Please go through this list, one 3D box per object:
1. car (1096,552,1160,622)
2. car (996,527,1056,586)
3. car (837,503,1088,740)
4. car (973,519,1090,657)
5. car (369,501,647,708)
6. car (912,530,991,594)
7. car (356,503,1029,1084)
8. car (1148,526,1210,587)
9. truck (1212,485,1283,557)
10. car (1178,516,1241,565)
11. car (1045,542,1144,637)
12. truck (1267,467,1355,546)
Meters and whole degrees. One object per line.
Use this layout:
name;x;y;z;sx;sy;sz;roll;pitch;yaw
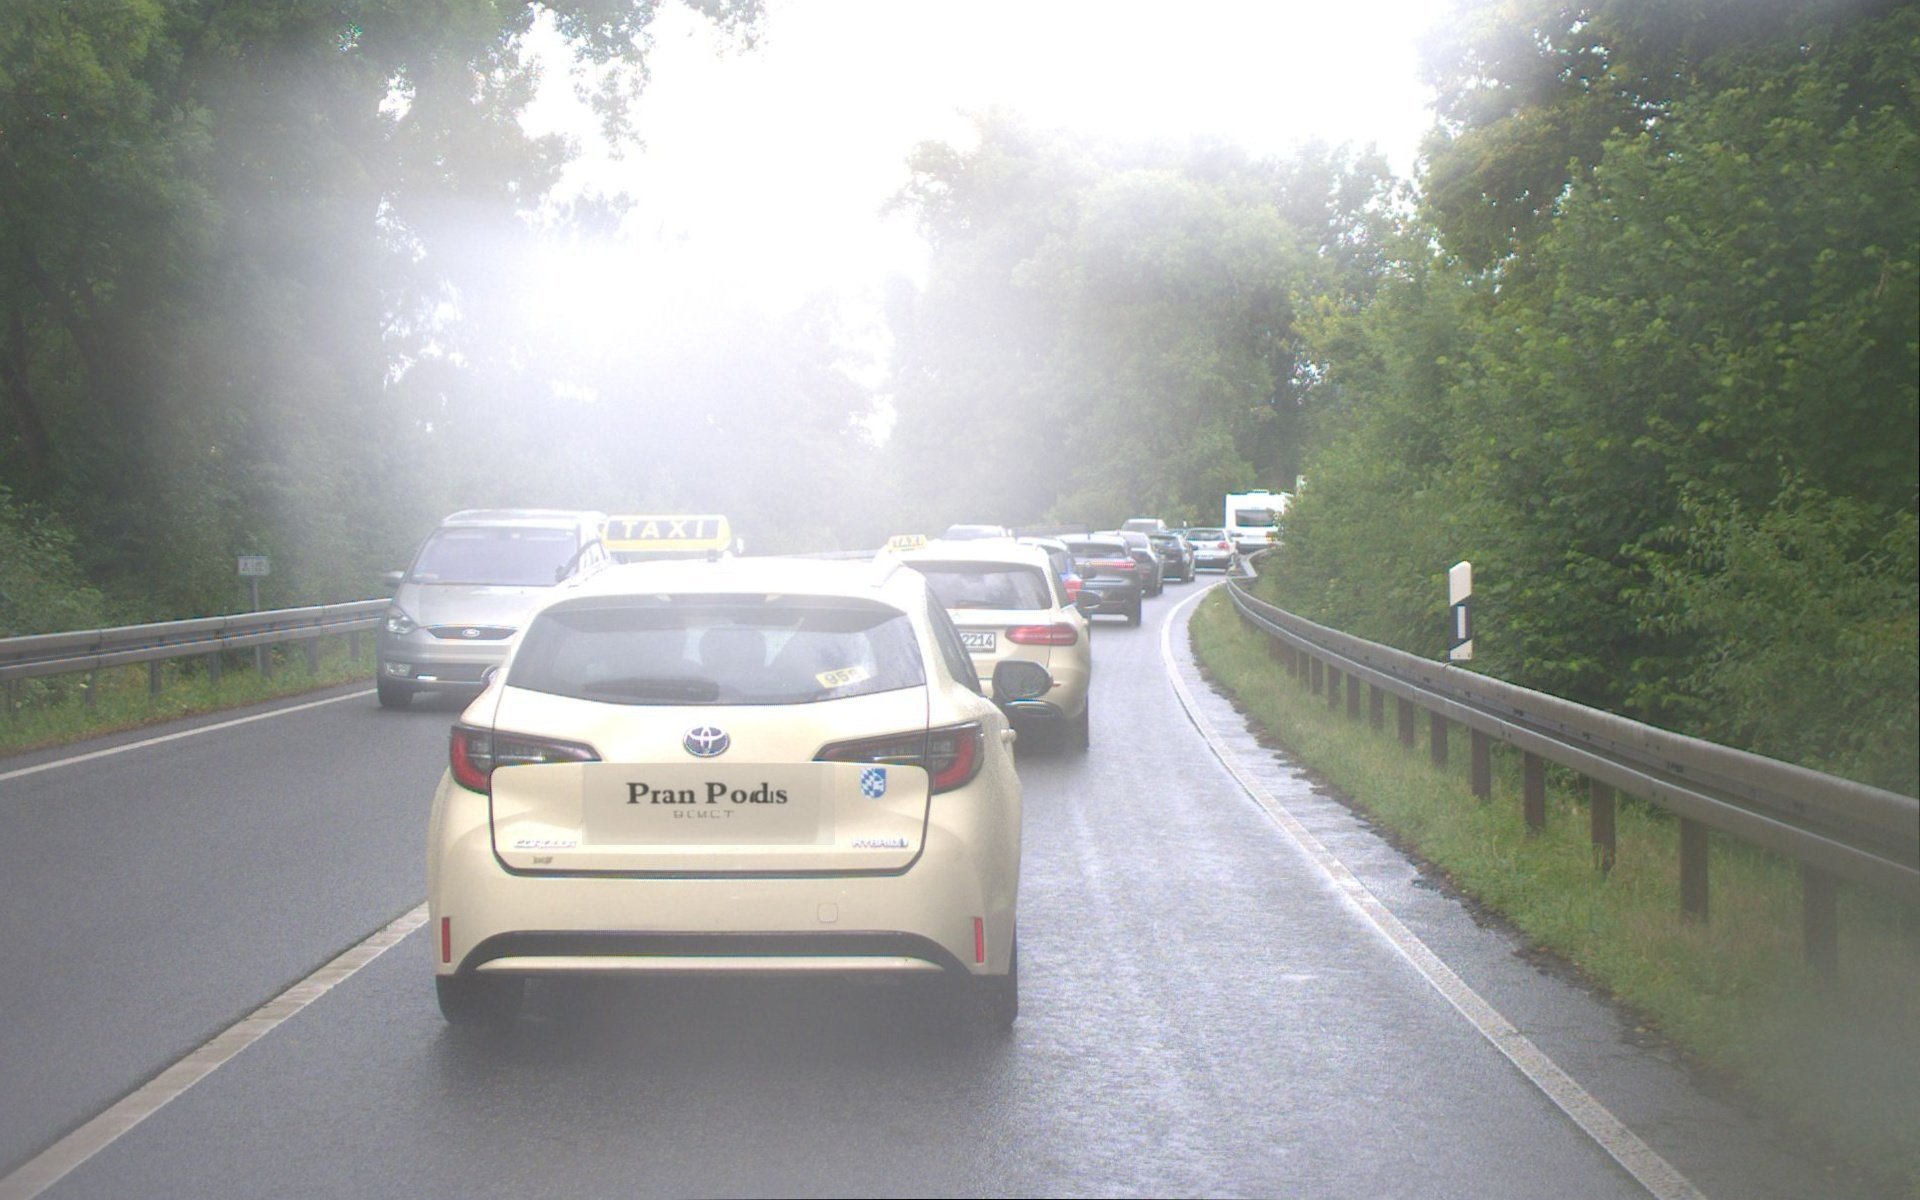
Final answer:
car;3.799;-0.298;77.486;1.167;1.541;2.603;1;0;9
car;2.316;-1.507;120.118;1.994;2.007;4.000;1;0;2
car;0.037;0.129;24.992;1.667;1.575;3.892;1;0;1
car;0.837;-0.148;40.200;1.300;1.541;3.260;1;0;1
car;-3.919;0.024;30.505;1.815;1.680;4.622;1;0;0
car;-0.182;-0.949;84.194;1.807;1.527;4.206;0;1;1
car;-0.713;0.515;11.513;1.834;1.575;4.156;1;0;1
car;5.971;-1.164;93.640;1.616;1.607;3.621;1;0;4
truck;11.394;-3.099;136.594;2.550;2.704;7.534;1;0;3
car;8.146;-1.918;111.941;1.770;1.541;3.813;1;0;8
car;2.279;-0.170;57.943;1.611;1.541;3.813;0;0;3
truck;17.077;-4.508;166.974;3.109;3.668;6.995;1;0;15
